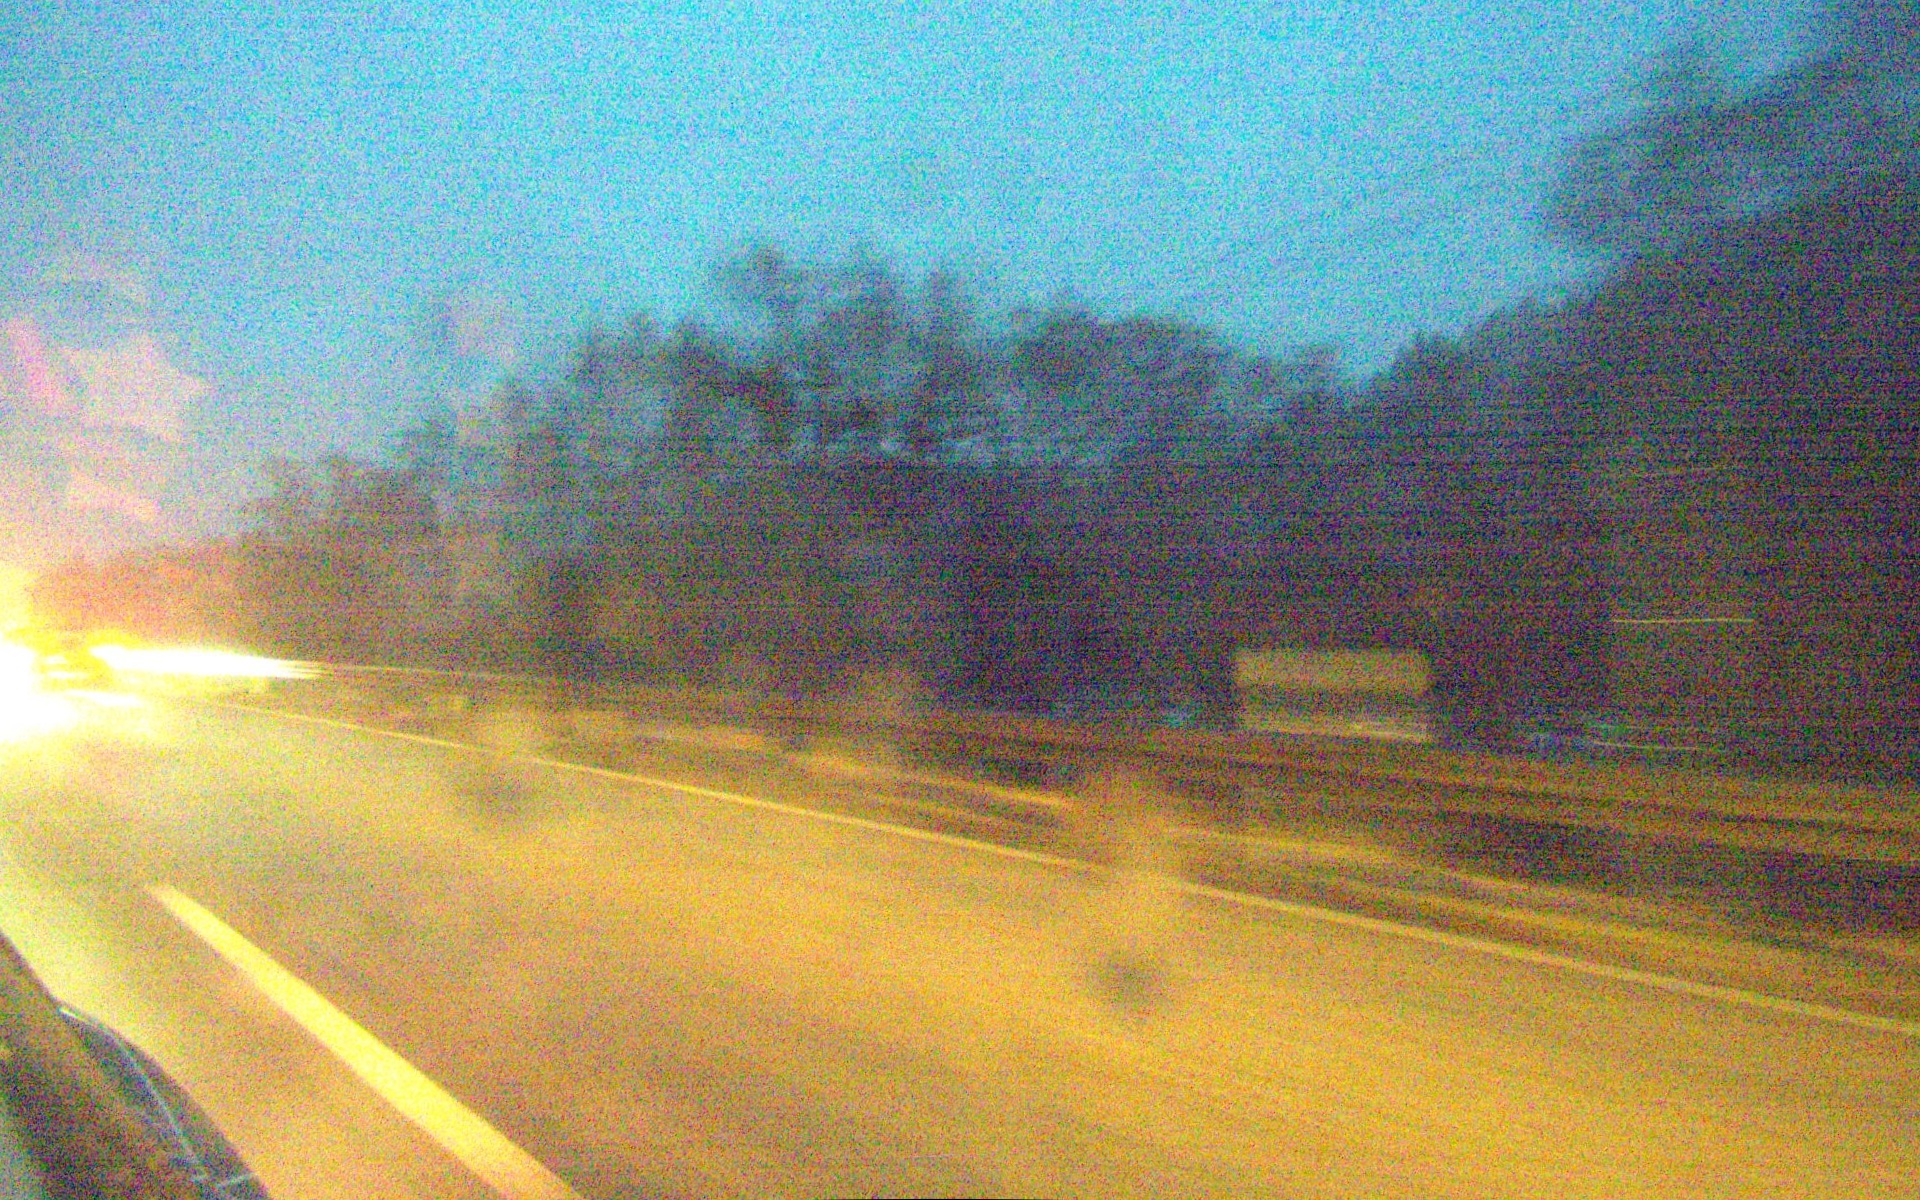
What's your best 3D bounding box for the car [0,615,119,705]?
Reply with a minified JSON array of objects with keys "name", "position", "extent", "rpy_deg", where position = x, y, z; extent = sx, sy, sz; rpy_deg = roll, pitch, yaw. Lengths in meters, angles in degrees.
[{"name":"car","position":[-17.738,1.119,19.548],"extent":[3.875,1.529,1.698],"rpy_deg":[-2,0,41]}]
